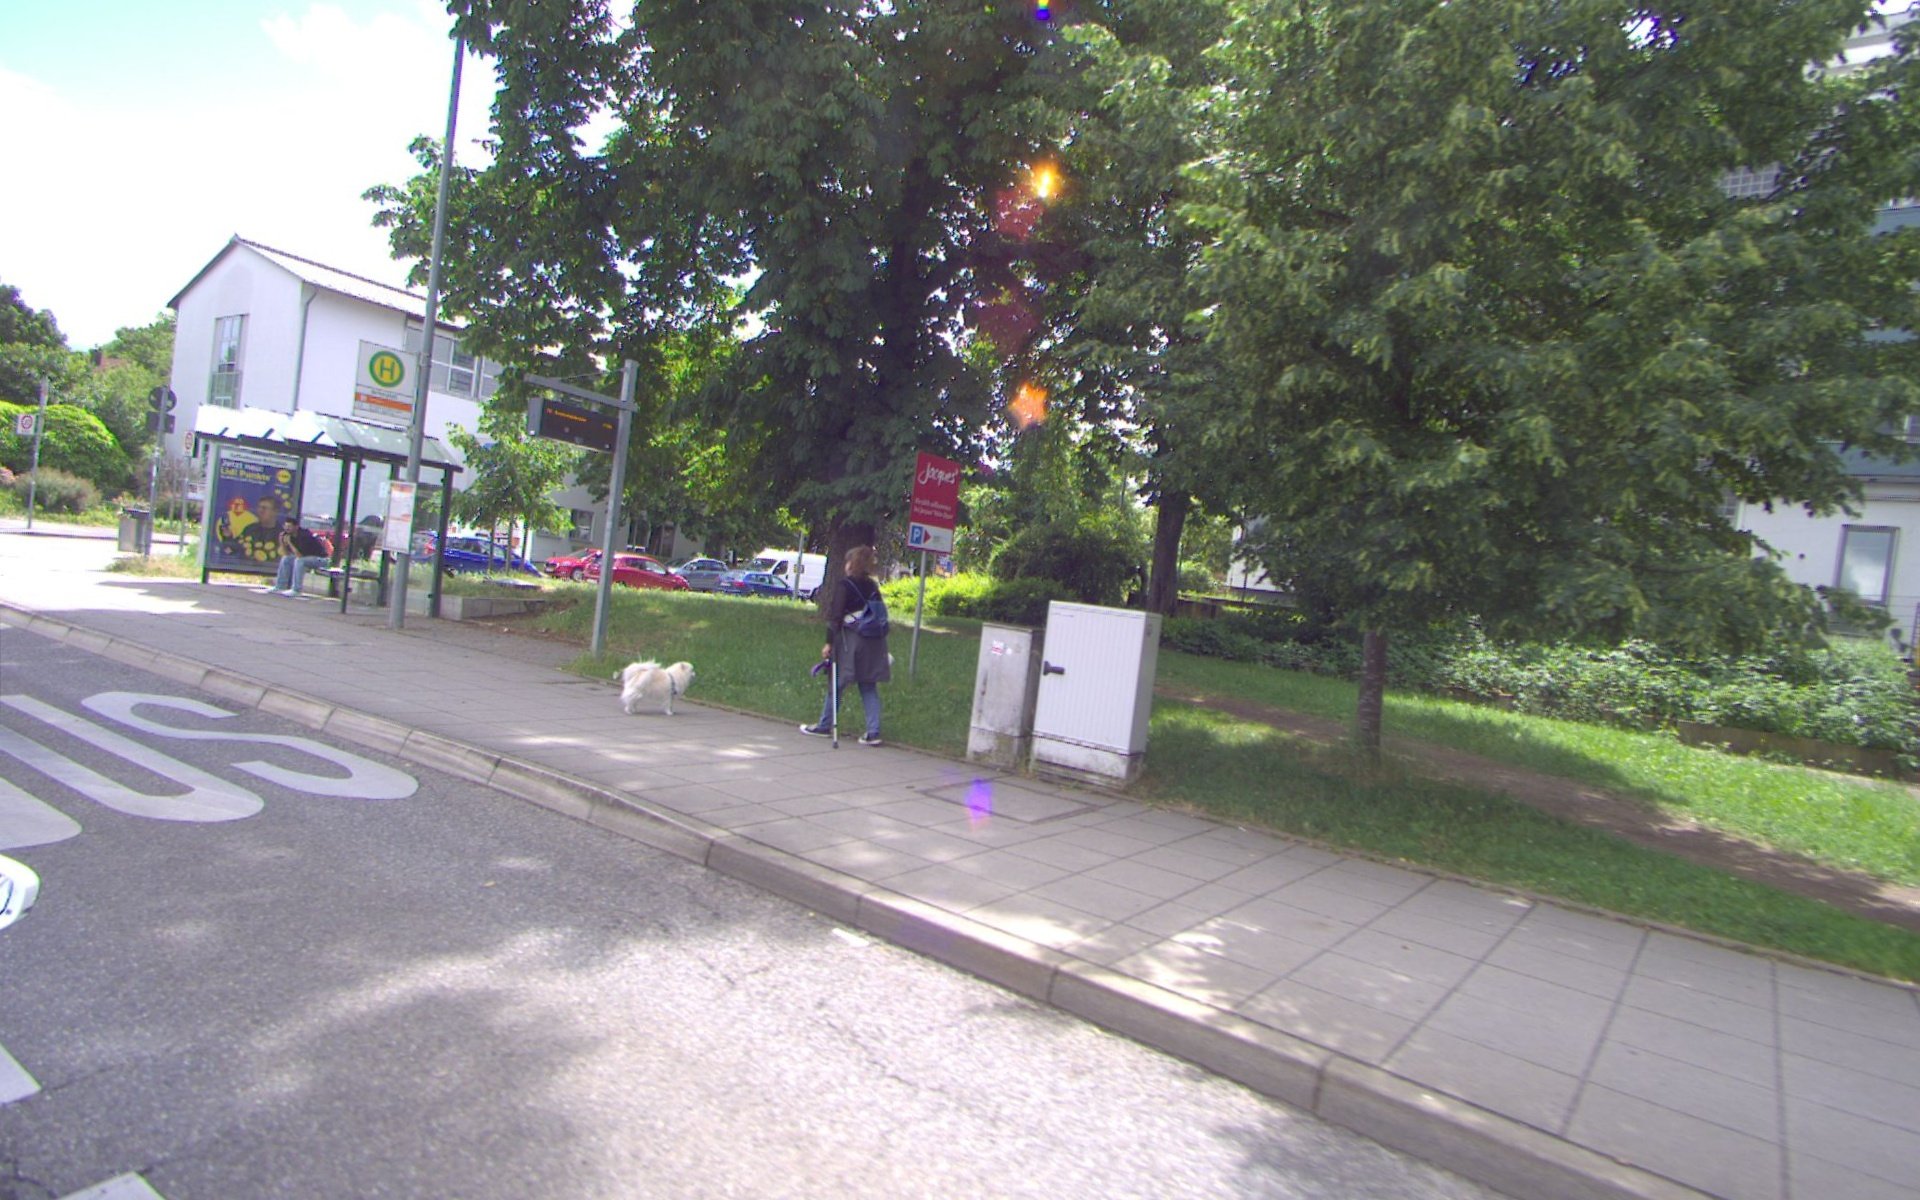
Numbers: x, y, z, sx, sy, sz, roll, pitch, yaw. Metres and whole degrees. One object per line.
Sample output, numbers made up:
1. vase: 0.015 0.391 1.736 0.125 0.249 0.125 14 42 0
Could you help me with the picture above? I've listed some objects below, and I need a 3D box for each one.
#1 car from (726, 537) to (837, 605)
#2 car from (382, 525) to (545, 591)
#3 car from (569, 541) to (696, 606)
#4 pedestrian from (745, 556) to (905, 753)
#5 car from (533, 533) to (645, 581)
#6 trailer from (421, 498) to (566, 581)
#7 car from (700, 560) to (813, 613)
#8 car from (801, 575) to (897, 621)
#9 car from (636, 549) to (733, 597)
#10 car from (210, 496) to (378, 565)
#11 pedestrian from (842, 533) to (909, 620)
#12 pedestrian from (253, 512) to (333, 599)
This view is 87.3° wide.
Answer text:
1. car: -9.320 -1.468 52.961 2.170 2.903 5.576 7 1 36
2. car: -14.512 -1.201 29.572 1.865 1.476 3.793 9 3 34
3. car: -11.194 -0.883 34.621 1.800 1.664 3.689 9 1 34
4. pedestrian: -1.086 0.432 8.136 0.817 1.442 0.819 7 1 37
5. car: -15.955 -1.840 43.445 1.968 1.522 4.080 9 2 34
6. trailer: -18.390 -2.349 39.838 2.186 2.518 4.539 9 1 34
7. car: -7.943 -0.492 39.538 1.967 1.579 4.081 8 1 33
8. car: -4.816 -0.056 44.162 1.967 1.579 4.081 8 1 33
9. car: -12.996 -1.244 47.663 1.879 1.745 3.985 8 1 37
10. car: -22.251 -2.286 33.764 1.966 1.581 4.161 10 2 31
11. pedestrian: -1.865 -0.523 22.191 0.982 1.783 0.847 5 1 -44
12. pedestrian: -10.759 -0.713 16.233 0.676 1.275 0.826 8 2 39
